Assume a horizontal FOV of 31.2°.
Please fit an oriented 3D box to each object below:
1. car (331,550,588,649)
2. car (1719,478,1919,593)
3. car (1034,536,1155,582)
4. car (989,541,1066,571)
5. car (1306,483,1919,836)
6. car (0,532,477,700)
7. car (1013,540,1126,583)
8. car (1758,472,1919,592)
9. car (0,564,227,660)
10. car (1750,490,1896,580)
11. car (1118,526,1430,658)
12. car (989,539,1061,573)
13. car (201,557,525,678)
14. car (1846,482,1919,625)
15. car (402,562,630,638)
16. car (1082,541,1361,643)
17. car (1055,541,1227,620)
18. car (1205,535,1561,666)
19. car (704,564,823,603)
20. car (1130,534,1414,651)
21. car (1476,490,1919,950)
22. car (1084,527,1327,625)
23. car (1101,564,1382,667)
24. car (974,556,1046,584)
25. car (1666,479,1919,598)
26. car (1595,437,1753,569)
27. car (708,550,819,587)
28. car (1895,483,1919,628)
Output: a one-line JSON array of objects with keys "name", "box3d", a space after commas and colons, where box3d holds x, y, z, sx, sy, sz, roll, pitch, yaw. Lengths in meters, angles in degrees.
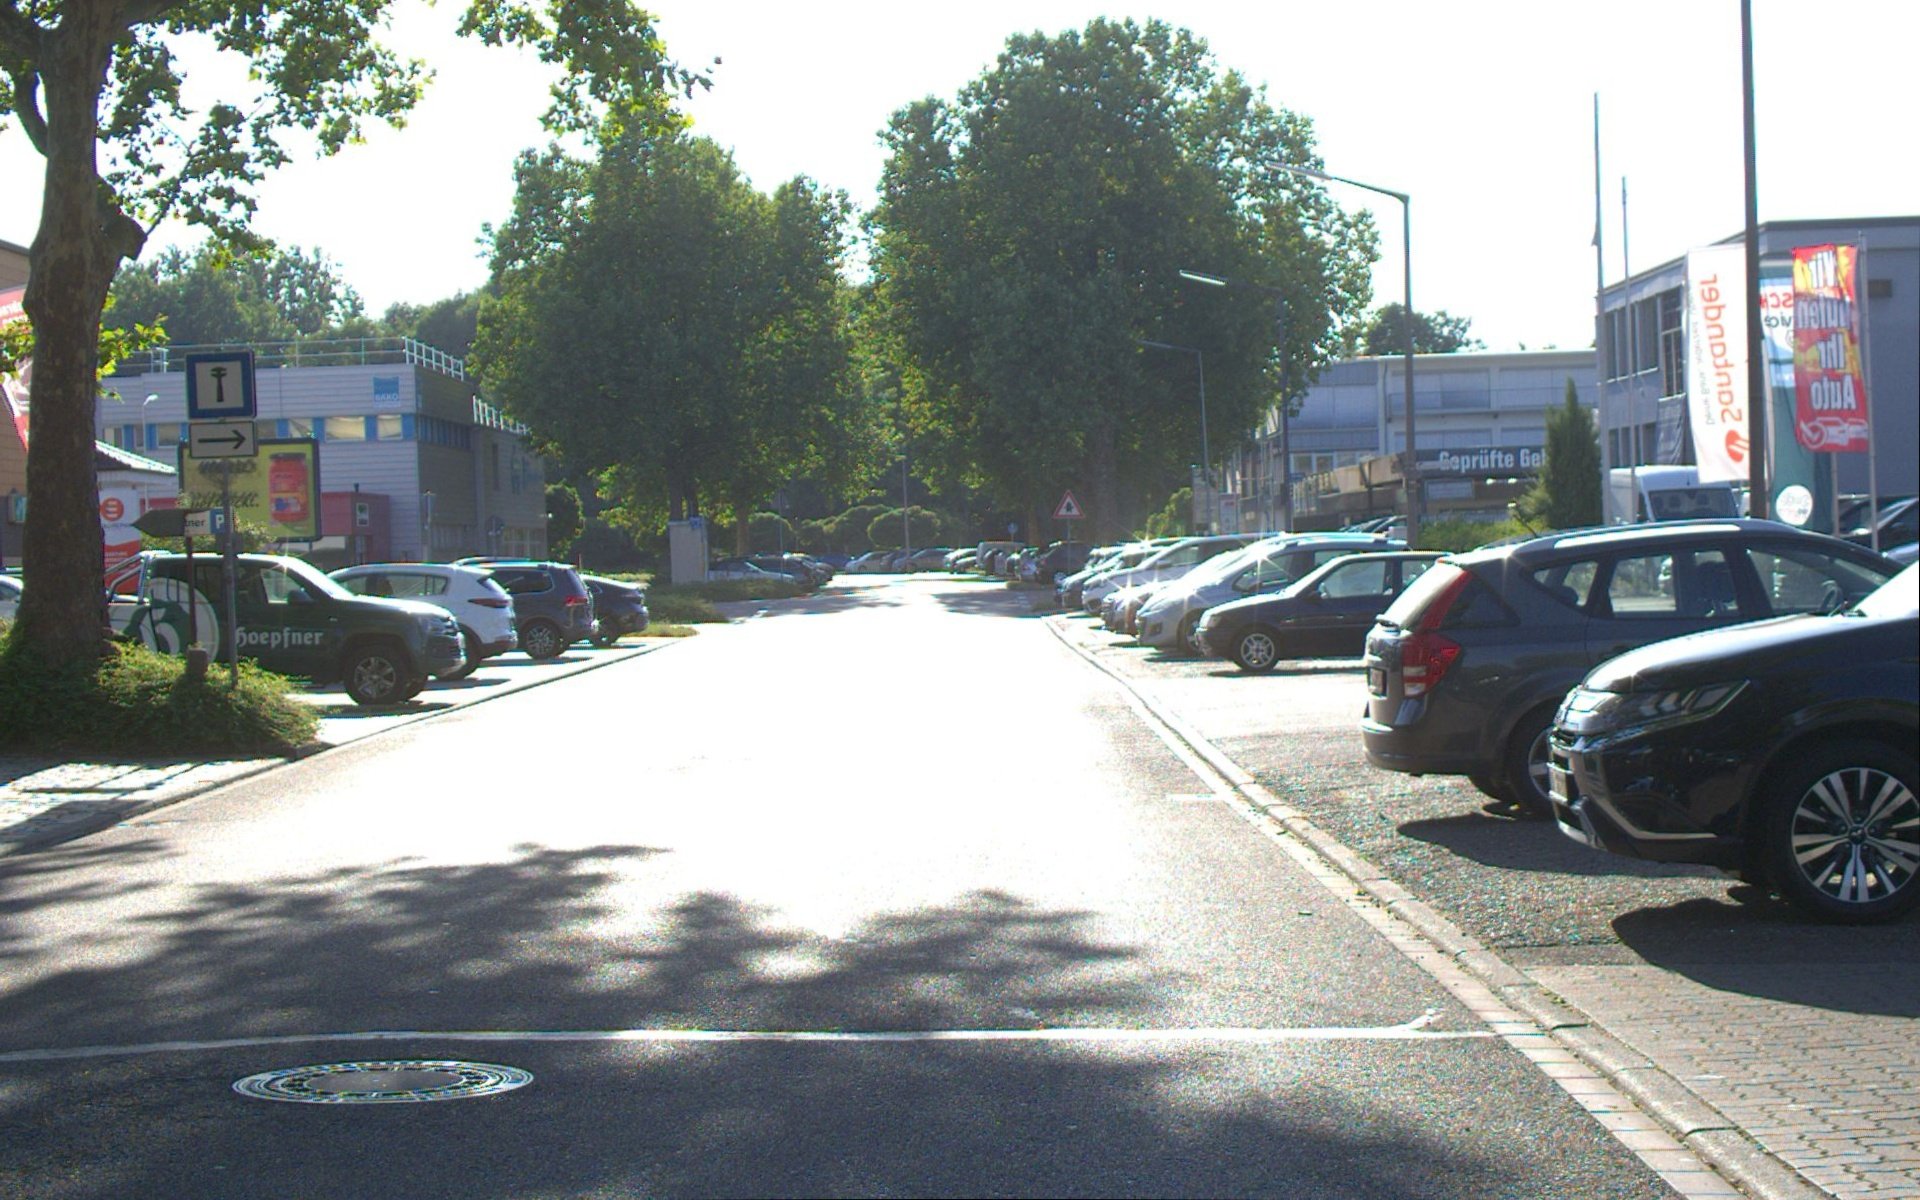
[{"name": "car", "box3d": [-8.685, -0.014, 59.975, 4.230, 1.650, 2.202, 0, 0, -2]}, {"name": "car", "box3d": [14.553, -1.072, 55.689, 3.987, 1.654, 2.000, -3, 0, 1]}, {"name": "car", "box3d": [4.578, -1.406, 117.354, 3.987, 1.411, 2.000, -2, 1, 0]}, {"name": "car", "box3d": [3.534, -2.299, 180.181, 3.987, 1.411, 1.827, -2, 0, 0]}, {"name": "car", "box3d": [4.380, 0.241, 19.035, 4.601, 1.607, 2.000, -5, 0, 0]}, {"name": "car", "box3d": [-8.530, 0.179, 40.886, 5.259, 1.892, 2.202, 0, 0, 0]}, {"name": "car", "box3d": [3.965, -1.405, 124.702, 3.987, 1.411, 1.827, -2, 0, 0]}, {"name": "car", "box3d": [14.431, -1.085, 52.426, 3.987, 1.691, 2.000, -3, 0, 1]}, {"name": "car", "box3d": [-15.993, 0.213, 62.508, 4.943, 1.683, 2.000, 0, 0, -2]}, {"name": "car", "box3d": [17.742, -1.322, 70.823, 1.993, 1.793, 4.000, 0, 1, 0]}, {"name": "car", "box3d": [4.317, -0.119, 47.665, 3.986, 1.582, 1.868, -3, 1, -3]}, {"name": "car", "box3d": [3.676, -2.481, 195.061, 3.987, 1.771, 1.827, -2, 0, 0]}, {"name": "car", "box3d": [-8.494, 0.234, 49.230, 4.302, 1.650, 2.202, 0, 0, -2]}, {"name": "car", "box3d": [14.428, -0.666, 47.427, 3.902, 1.892, 1.786, -1, -1, 0]}, {"name": "car", "box3d": [-8.789, -0.014, 68.320, 4.313, 1.455, 2.202, 0, 0, -2]}, {"name": "car", "box3d": [4.362, -0.148, 57.921, 4.437, 1.431, 2.135, -3, 1, 0]}, {"name": "car", "box3d": [4.442, -0.485, 84.830, 3.987, 1.646, 1.743, -4, 1, -2]}, {"name": "car", "box3d": [4.930, -0.006, 40.495, 3.987, 1.292, 1.784, -3, 1, 3]}, {"name": "car", "box3d": [-7.442, -0.628, 129.855, 4.415, 1.398, 2.000, 0, 1, -5]}, {"name": "car", "box3d": [4.760, -0.122, 52.844, 4.108, 1.734, 1.884, 0, 0, -3]}, {"name": "car", "box3d": [4.502, 0.299, 13.493, 4.601, 1.574, 2.000, -5, 0, 3]}, {"name": "car", "box3d": [4.906, -0.482, 69.228, 4.554, 1.592, 2.202, -5, 0, -2]}, {"name": "car", "box3d": [4.480, 0.233, 55.084, 4.241, 1.599, 1.746, 0, 0, -5]}, {"name": "car", "box3d": [2.798, -1.672, 193.234, 3.987, 1.411, 1.827, -2, 0, 0]}, {"name": "car", "box3d": [14.352, -1.052, 58.579, 4.144, 1.765, 2.000, -3, 0, 1]}, {"name": "car", "box3d": [14.729, -1.957, 71.251, 1.993, 2.616, 6.137, 0, 1, 0]}, {"name": "car", "box3d": [-8.135, -1.310, 142.647, 4.415, 1.511, 2.000, 0, 1, 2]}, {"name": "car", "box3d": [14.435, -0.732, 44.744, 3.799, 1.892, 2.202, -5, 1, 0]}]
